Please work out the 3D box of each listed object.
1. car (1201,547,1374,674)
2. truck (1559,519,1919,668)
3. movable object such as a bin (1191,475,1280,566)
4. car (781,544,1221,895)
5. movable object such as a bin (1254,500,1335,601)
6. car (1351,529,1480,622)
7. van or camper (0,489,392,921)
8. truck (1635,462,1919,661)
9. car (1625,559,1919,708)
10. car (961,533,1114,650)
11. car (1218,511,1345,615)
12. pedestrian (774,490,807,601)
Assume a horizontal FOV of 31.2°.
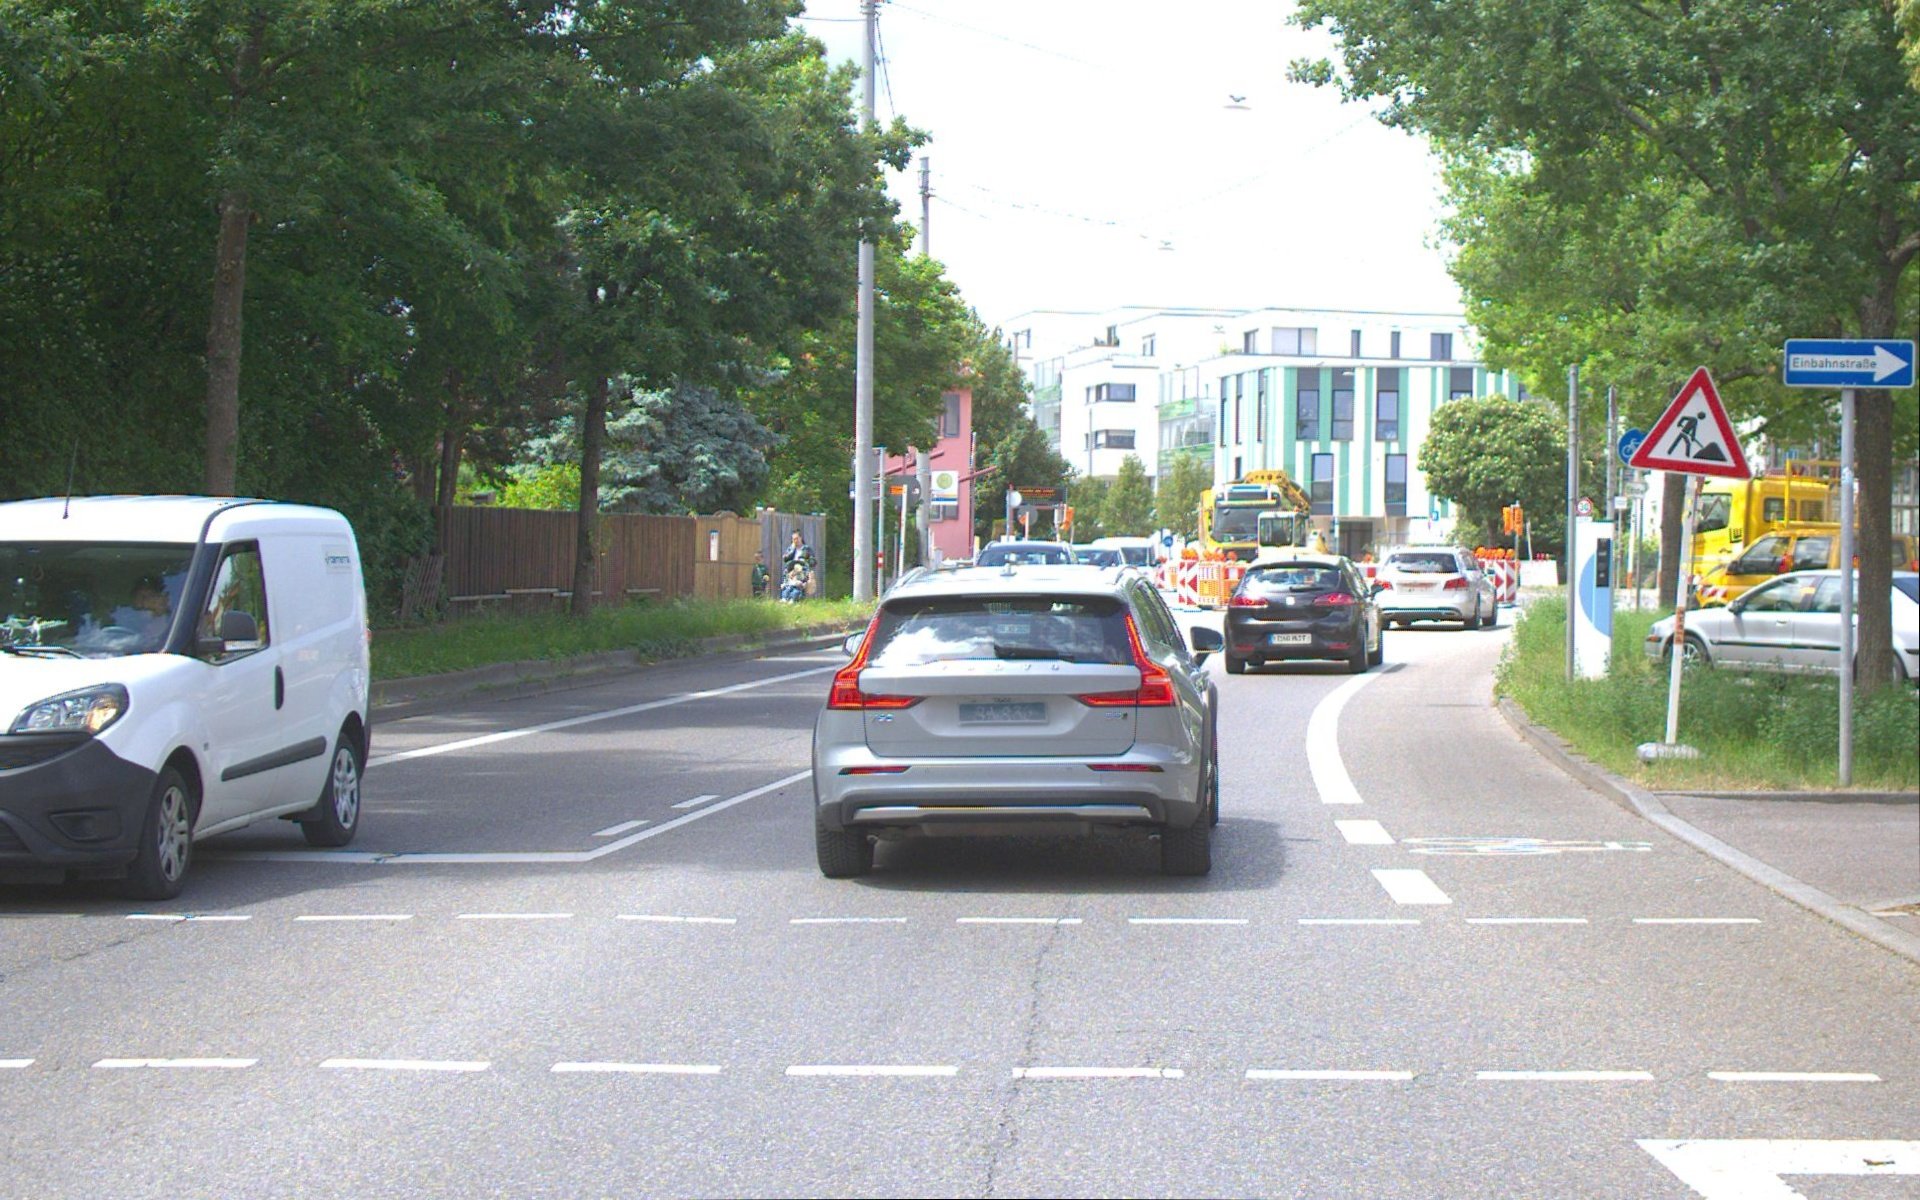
[{"bbox_3d":[4.052,0.122,43.040,1.661,1.503,3.703,-1,0,-2],"label":"car"},{"bbox_3d":[12.135,-0.120,52.905,1.994,2.007,5.676,4,0,-41],"label":"truck"},{"bbox_3d":[9.260,-2.674,115.976,2.310,2.980,6.427,1,1,-1],"label":"movable object such as a bin"},{"bbox_3d":[0.329,0.519,17.261,1.928,1.535,3.999,-1,0,5],"label":"car"},{"bbox_3d":[9.062,-1.350,92.863,2.035,2.634,5.938,1,1,7],"label":"movable object such as a bin"},{"bbox_3d":[8.139,-0.414,61.755,2.103,1.505,3.999,3,0,6],"label":"car"},{"bbox_3d":[-4.176,0.388,16.361,1.861,1.770,4.380,0,1,5],"label":"van or camper"},{"bbox_3d":[14.339,-0.586,54.742,2.761,2.998,6.705,4,0,-39],"label":"truck"},{"bbox_3d":[9.738,0.354,38.032,1.762,1.447,4.689,1,1,-36],"label":"car"},{"bbox_3d":[1.207,-0.150,51.826,1.880,1.681,4.246,0,1,7],"label":"car"},{"bbox_3d":[6.869,-0.763,73.016,1.995,2.007,3.997,3,0,14],"label":"car"},{"bbox_3d":[-3.091,-0.996,62.795,0.402,2.007,0.414,3,0,9],"label":"pedestrian"}]
